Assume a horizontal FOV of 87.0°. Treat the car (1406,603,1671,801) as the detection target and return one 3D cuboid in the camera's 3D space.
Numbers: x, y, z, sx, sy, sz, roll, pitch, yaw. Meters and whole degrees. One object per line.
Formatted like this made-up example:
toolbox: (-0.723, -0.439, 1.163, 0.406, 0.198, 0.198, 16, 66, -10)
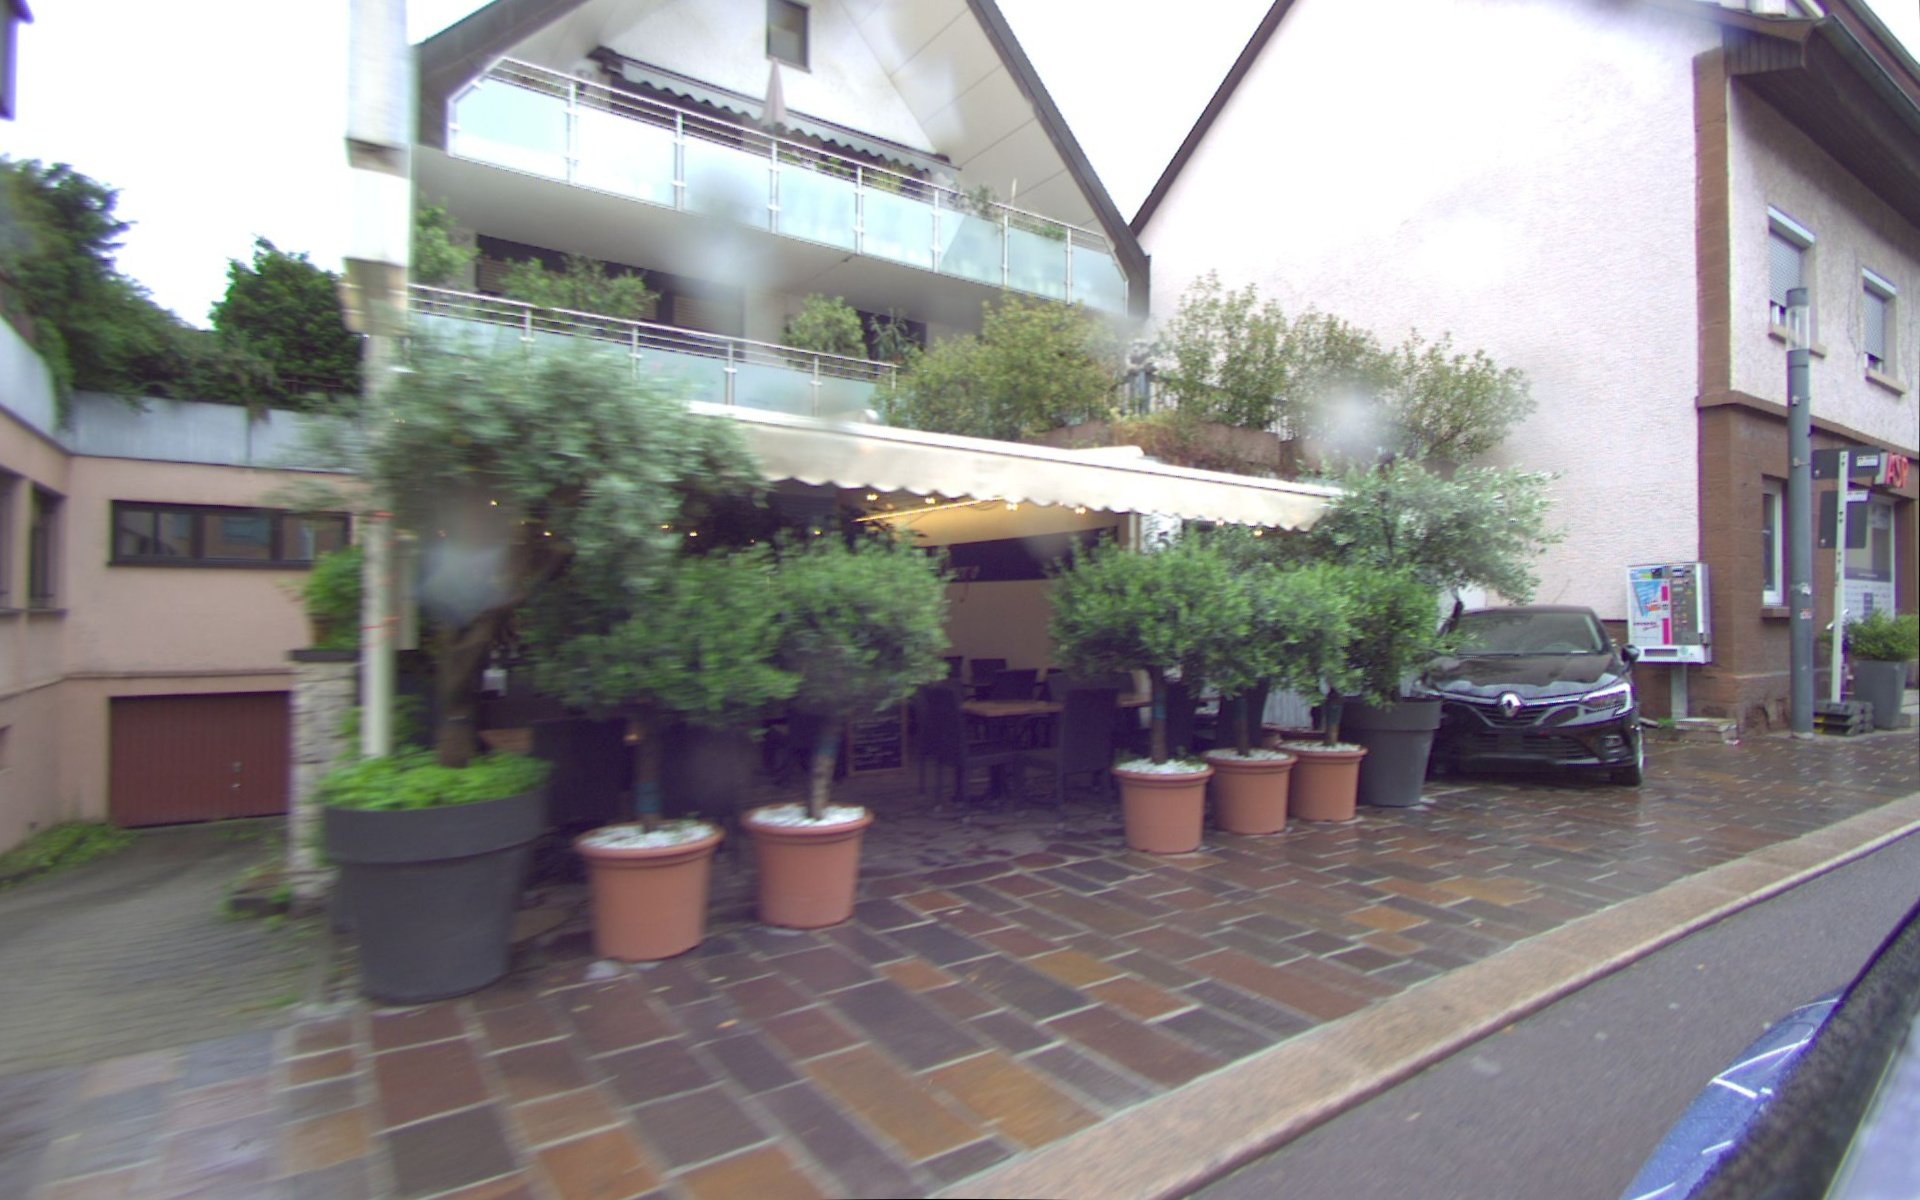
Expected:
car: (5.286, 0.723, 9.241, 1.725, 1.374, 3.892, 0, 0, 32)
